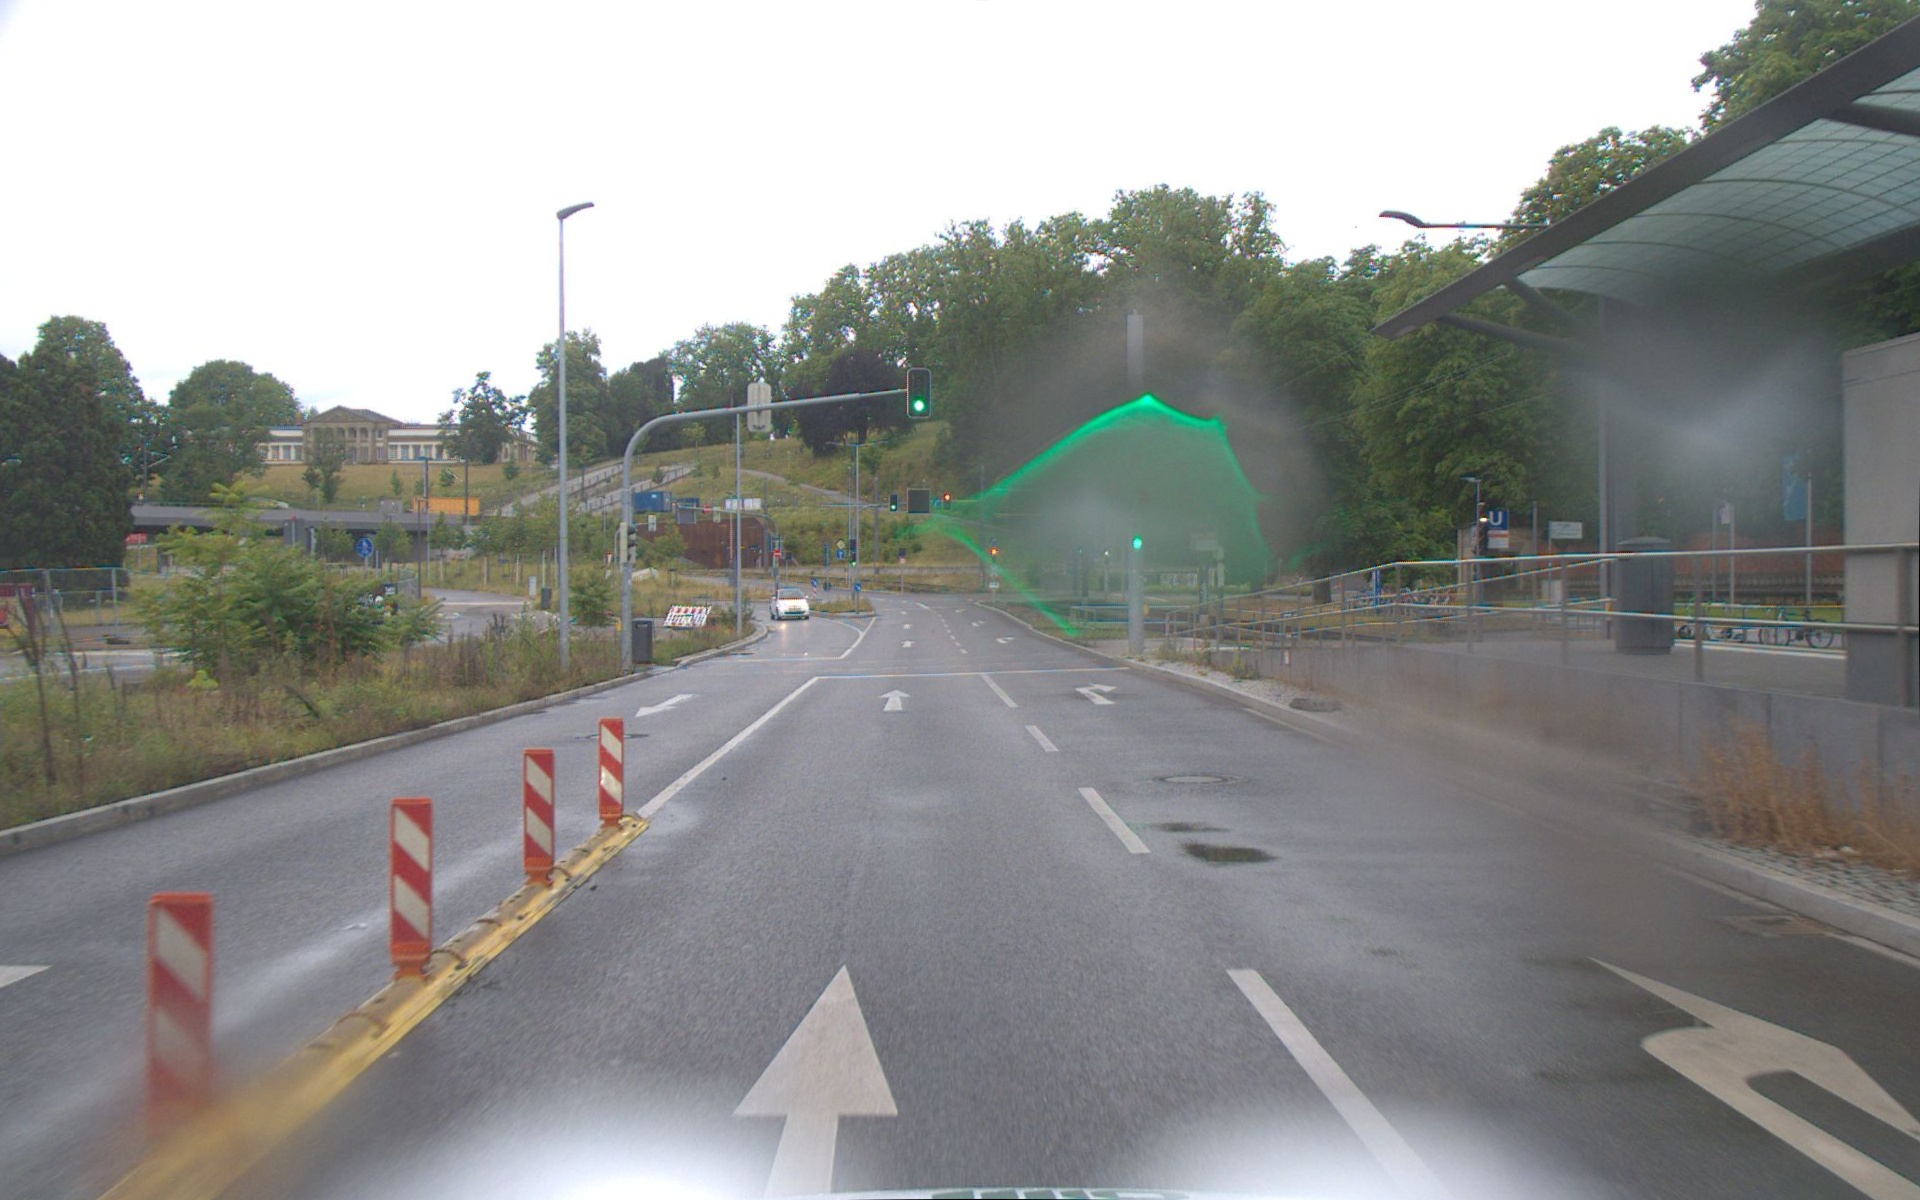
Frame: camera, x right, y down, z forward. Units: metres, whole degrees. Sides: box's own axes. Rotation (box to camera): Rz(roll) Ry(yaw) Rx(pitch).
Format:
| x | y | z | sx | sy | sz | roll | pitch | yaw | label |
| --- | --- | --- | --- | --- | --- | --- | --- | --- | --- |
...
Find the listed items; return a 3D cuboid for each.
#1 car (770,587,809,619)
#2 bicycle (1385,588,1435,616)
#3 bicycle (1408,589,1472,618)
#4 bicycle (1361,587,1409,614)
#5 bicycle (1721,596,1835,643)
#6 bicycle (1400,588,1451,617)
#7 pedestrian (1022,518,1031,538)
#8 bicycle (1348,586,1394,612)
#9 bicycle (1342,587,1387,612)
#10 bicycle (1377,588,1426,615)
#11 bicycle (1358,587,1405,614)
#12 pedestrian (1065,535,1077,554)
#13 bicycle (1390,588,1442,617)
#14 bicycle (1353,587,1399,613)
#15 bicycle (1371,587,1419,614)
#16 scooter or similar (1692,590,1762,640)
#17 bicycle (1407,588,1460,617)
| x | y | z | sx | sy | sz | roll | pitch | yaw | label |
| --- | --- | --- | --- | --- | --- | --- | --- | --- | --- |
| -8.552 | 0.144 | 82.842 | 1.559 | 1.517 | 3.703 | -2 | 0 | -12 | car |
| 17.653 | 0.087 | 64.933 | 1.774 | 1.050 | 0.652 | -1 | 1 | -4 | bicycle |
| 17.857 | 0.129 | 61.501 | 2.179 | 1.050 | 0.689 | -1 | 1 | -4 | bicycle |
| 17.443 | 0.030 | 67.863 | 1.798 | 1.050 | 0.652 | -1 | 1 | -4 | bicycle |
| 18.234 | 0.431 | 36.885 | 2.275 | 0.974 | 0.570 | -1 | 1 | -3 | bicycle |
| 17.804 | 0.093 | 63.271 | 1.774 | 1.050 | 0.652 | -1 | 1 | -4 | bicycle |
| 6.908 | -7.482 | 171.866 | 0.776 | 2.047 | 0.654 | -5 | 7 | -17 | pedestrian |
| 17.473 | -0.032 | 70.320 | 1.774 | 1.050 | 0.652 | -1 | 1 | -4 | bicycle |
| 17.398 | -0.027 | 71.199 | 1.774 | 1.050 | 0.652 | -1 | 1 | -4 | bicycle |
| 17.519 | 0.060 | 65.655 | 1.774 | 1.052 | 0.652 | -1 | 1 | -4 | bicycle |
| 17.448 | 0.024 | 68.528 | 1.774 | 1.050 | 0.652 | -1 | 1 | -4 | bicycle |
| 10.354 | -5.197 | 154.634 | 0.938 | 1.812 | 1.122 | 1 | 2 | -3 | pedestrian |
| 17.683 | 0.087 | 64.135 | 1.810 | 1.050 | 0.652 | -1 | 1 | -4 | bicycle |
| 17.467 | -0.010 | 69.432 | 1.774 | 1.050 | 0.652 | -1 | 1 | -4 | bicycle |
| 17.654 | 0.031 | 67.177 | 1.774 | 1.050 | 0.652 | -1 | 1 | -4 | bicycle |
| 18.666 | 0.357 | 40.271 | 1.513 | 1.156 | 0.431 | -1 | 0 | -3 | scooter or similar |
| 17.860 | 0.101 | 62.410 | 1.774 | 1.050 | 0.652 | -1 | 1 | -4 | bicycle |
